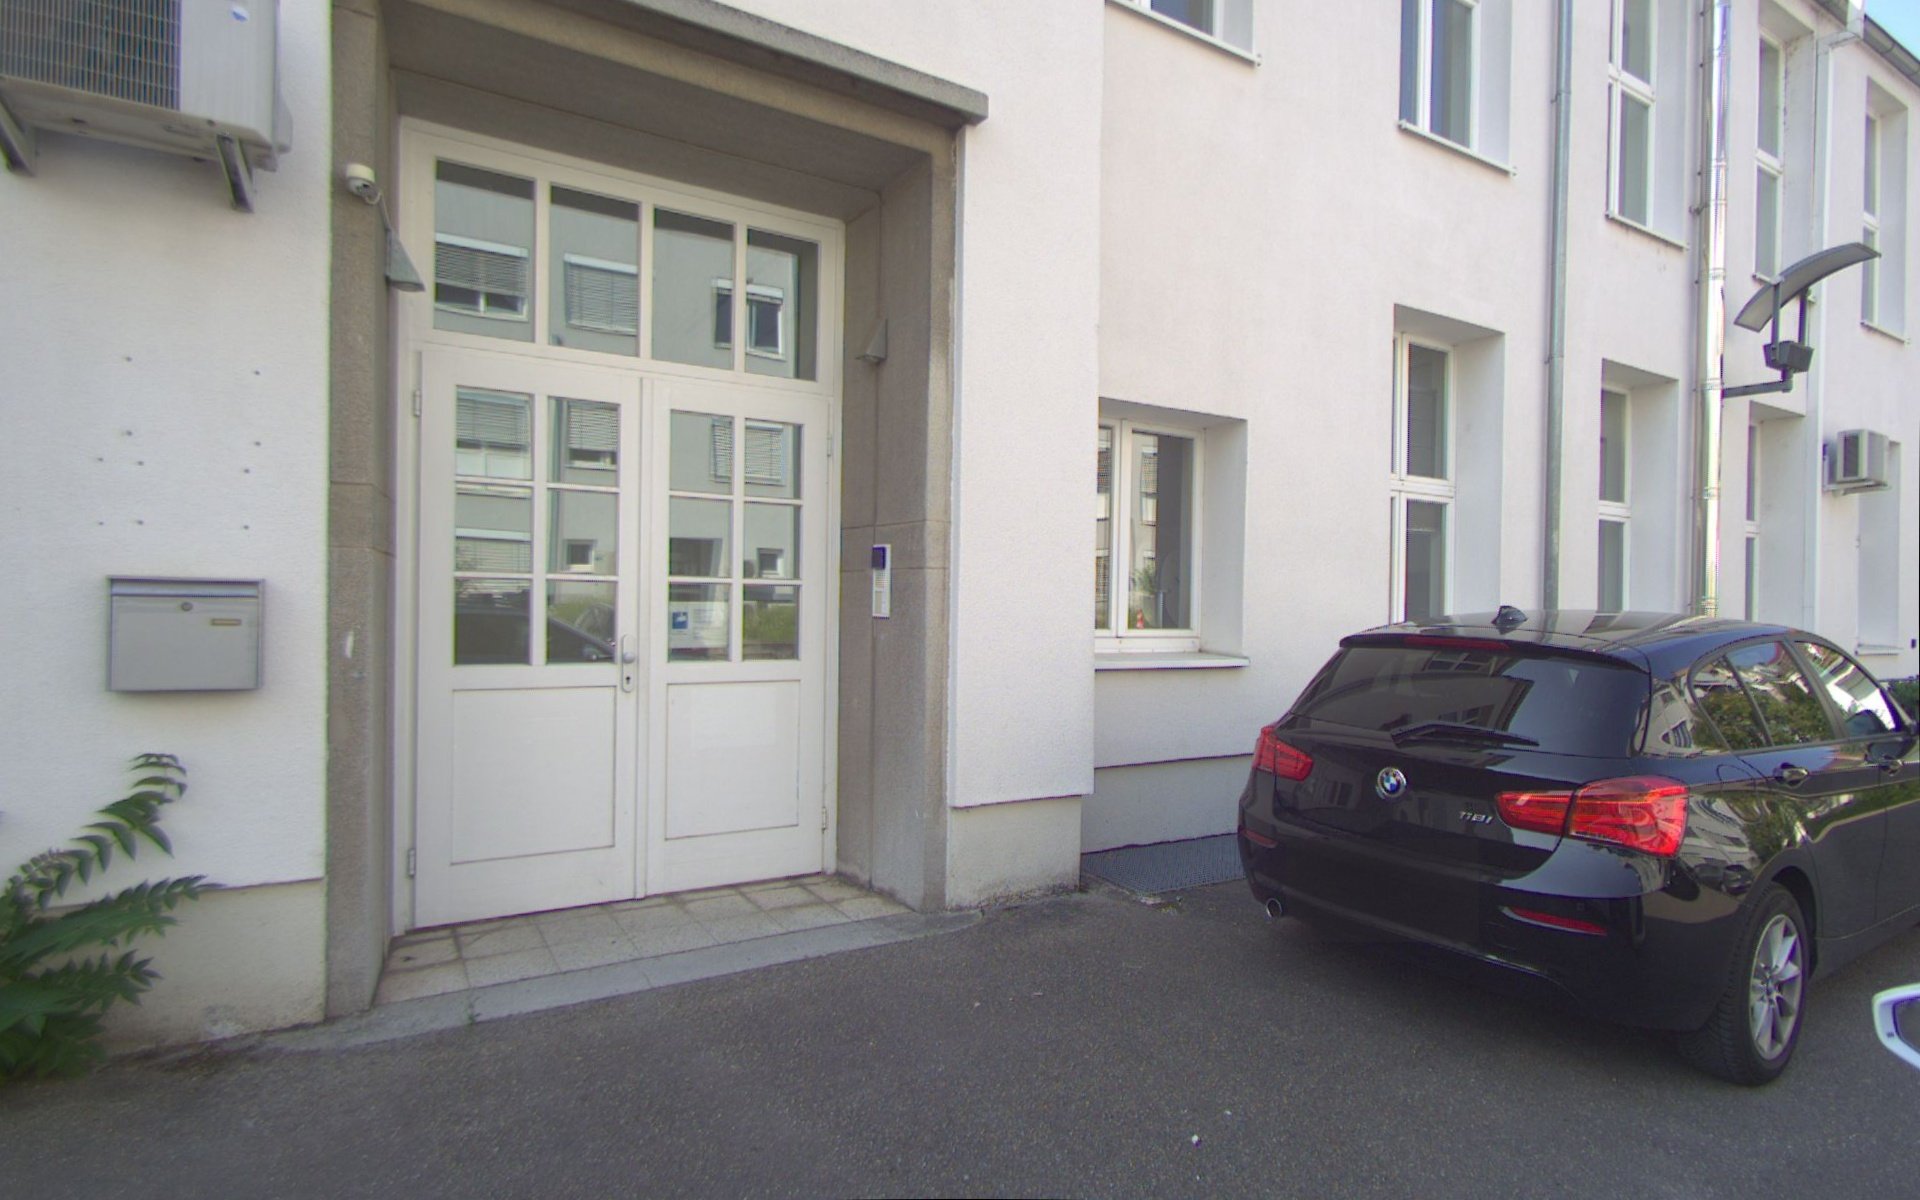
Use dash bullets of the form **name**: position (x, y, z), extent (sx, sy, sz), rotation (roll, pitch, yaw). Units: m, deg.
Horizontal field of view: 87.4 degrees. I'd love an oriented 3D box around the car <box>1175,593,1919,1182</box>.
- **car**: position (2.935, 0.769, 4.309), extent (3.881, 1.478, 1.678), rotation (2, 0, -33)
